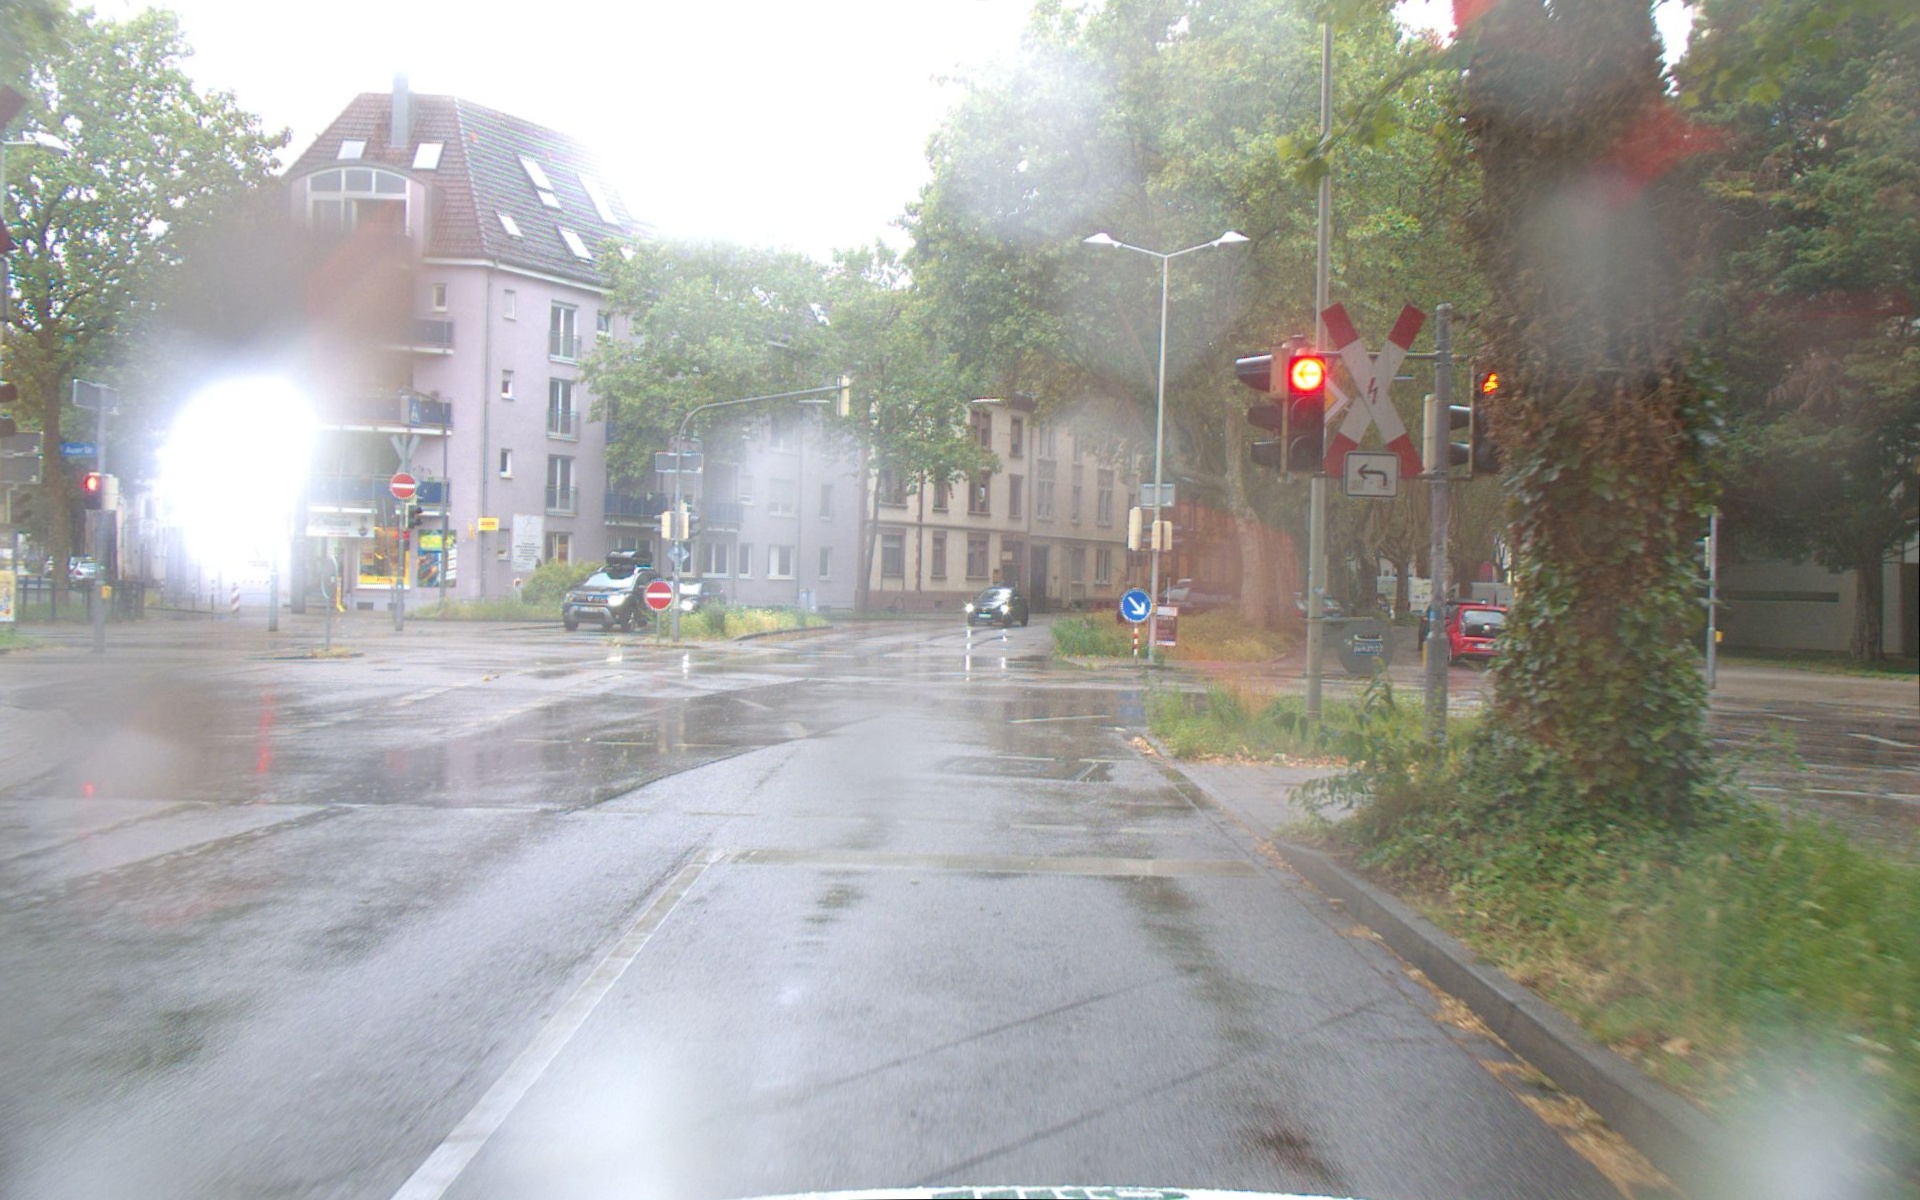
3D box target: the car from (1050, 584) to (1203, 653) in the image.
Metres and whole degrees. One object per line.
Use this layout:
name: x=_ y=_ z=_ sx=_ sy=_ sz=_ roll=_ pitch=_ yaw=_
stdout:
car: x=3.831 y=0.408 z=37.875 sx=3.405 sy=1.550 sz=1.521 roll=0 pitch=1 yaw=8

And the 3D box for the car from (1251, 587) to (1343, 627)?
car: x=14.366 y=0.288 z=70.541 sx=3.537 sy=1.646 sz=1.679 roll=0 pitch=1 yaw=28

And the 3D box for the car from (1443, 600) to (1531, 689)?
car: x=13.149 y=1.052 z=41.436 sx=1.951 sy=2.049 sz=4.003 roll=0 pitch=1 yaw=16

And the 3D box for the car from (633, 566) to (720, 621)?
car: x=-8.453 y=-0.225 z=49.630 sx=1.688 sy=1.579 sz=3.562 roll=0 pitch=1 yaw=5

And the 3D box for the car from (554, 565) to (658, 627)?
car: x=-9.282 y=-0.131 z=43.615 sx=1.688 sy=1.579 sz=3.562 roll=0 pitch=1 yaw=5

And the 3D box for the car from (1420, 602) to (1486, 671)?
car: x=15.722 y=1.133 z=52.913 sx=1.951 sy=2.049 sz=4.003 roll=0 pitch=1 yaw=16

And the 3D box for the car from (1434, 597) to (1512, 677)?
car: x=14.199 y=0.980 z=45.949 sx=1.951 sy=2.049 sz=4.003 roll=0 pitch=1 yaw=16

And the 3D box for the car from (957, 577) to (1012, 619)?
car: x=0.992 y=-0.103 z=64.623 sx=1.568 sy=1.579 sz=3.563 roll=0 pitch=1 yaw=10
